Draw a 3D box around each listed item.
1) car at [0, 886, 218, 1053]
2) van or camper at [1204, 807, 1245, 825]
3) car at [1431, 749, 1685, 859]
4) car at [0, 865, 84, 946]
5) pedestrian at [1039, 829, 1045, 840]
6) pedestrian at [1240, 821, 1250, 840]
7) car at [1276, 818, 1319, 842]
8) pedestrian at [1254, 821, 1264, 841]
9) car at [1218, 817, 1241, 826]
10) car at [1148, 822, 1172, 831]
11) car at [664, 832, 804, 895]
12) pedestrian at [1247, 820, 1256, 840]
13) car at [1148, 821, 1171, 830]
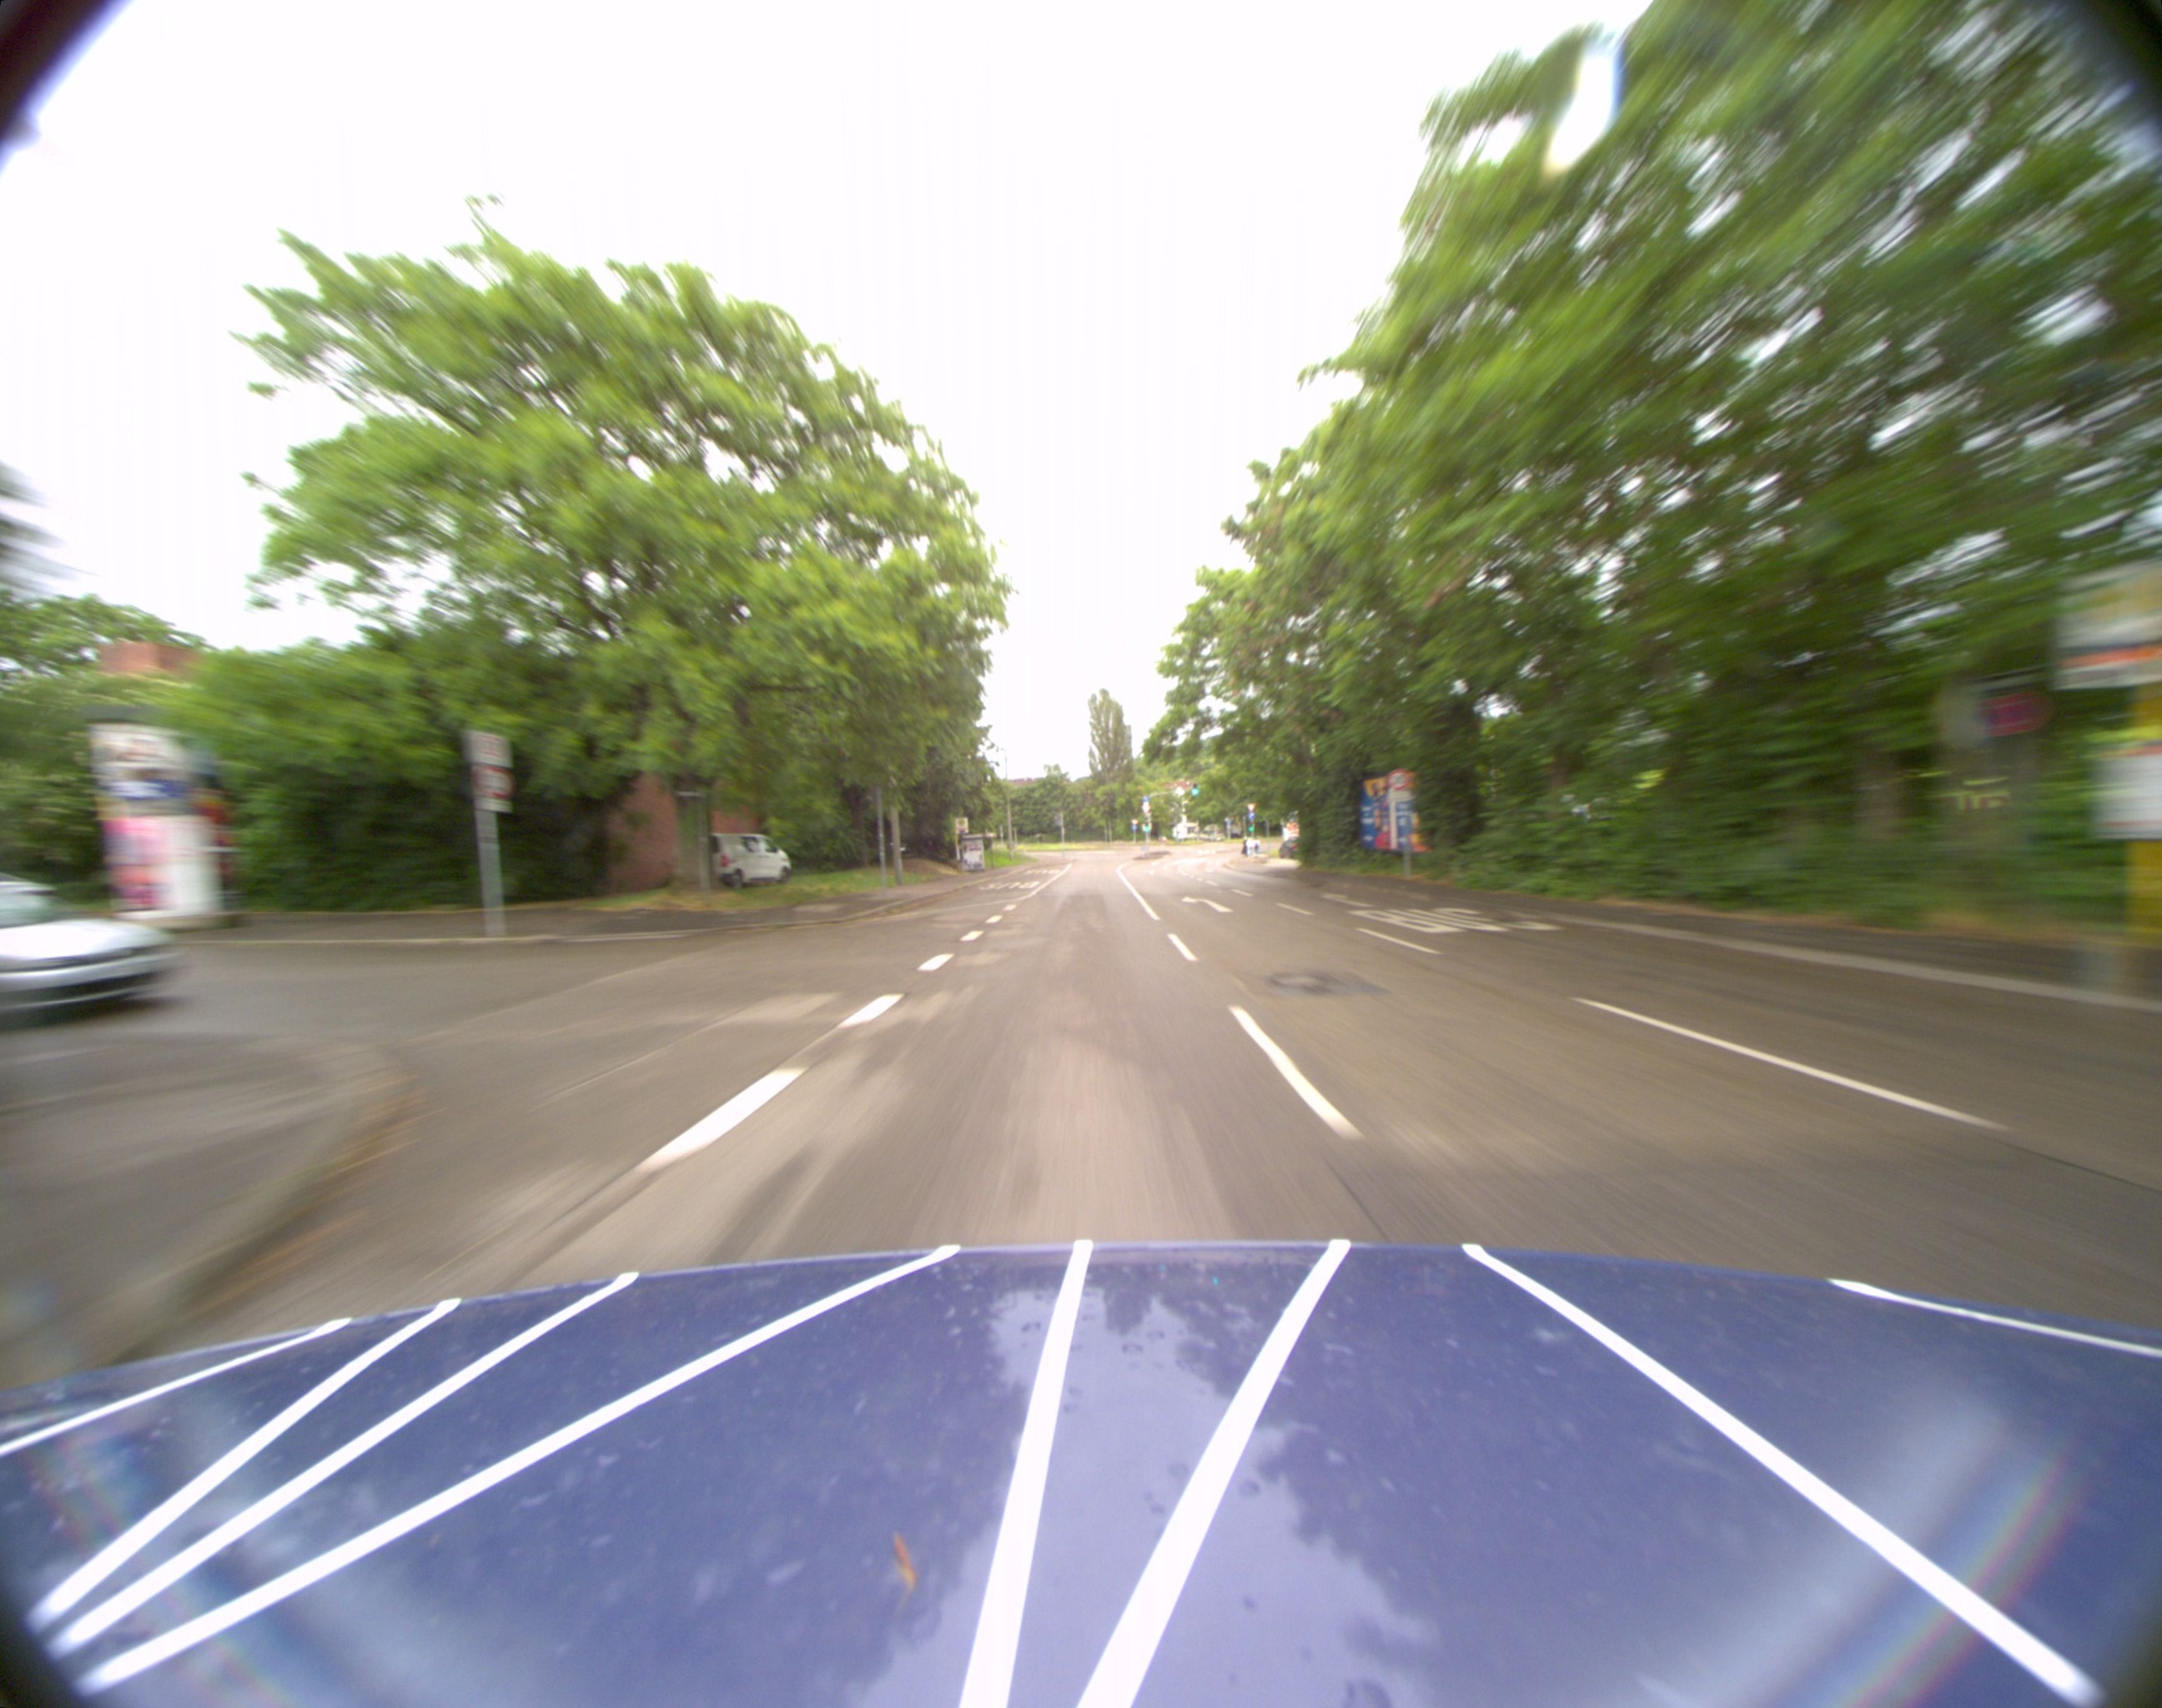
[{"bbox_3d":[-12.032,1.171,7.892,3.997,1.415,1.703,-2,3,-1],"label":"car"},{"bbox_3d":[24.085,-6.367,127.673,6.424,2.740,2.431,-2,3,6],"label":"van or camper"},{"bbox_3d":[13.035,-1.264,21.269,2.116,2.518,5.594,-5,1,-27],"label":"car"},{"bbox_3d":[-22.035,1.021,14.177,4.361,1.415,1.703,-2,3,-1],"label":"car"},{"bbox_3d":[-5.851,-2.929,113.726,0.682,1.597,0.810,-4,1,10],"label":"pedestrian"},{"bbox_3d":[14.031,-2.033,65.041,0.656,1.593,0.678,-4,1,16],"label":"pedestrian"},{"bbox_3d":[14.497,-1.604,51.024,1.751,1.441,4.234,-5,2,2],"label":"car"},{"bbox_3d":[15.000,-1.951,64.028,0.656,1.593,0.678,-4,1,16],"label":"pedestrian"},{"bbox_3d":[24.453,-5.377,124.836,3.469,1.347,1.678,-2,3,4],"label":"car"},{"bbox_3d":[13.779,-4.786,132.470,3.996,1.347,1.678,-2,3,4],"label":"car"},{"bbox_3d":[-11.694,0.228,26.086,1.998,1.795,5.147,-4,1,4],"label":"car"},{"bbox_3d":[14.472,-2.019,64.427,0.606,1.593,0.678,-4,1,16],"label":"pedestrian"},{"bbox_3d":[13.899,-5.067,134.641,3.996,1.540,1.678,-2,3,4],"label":"car"}]
